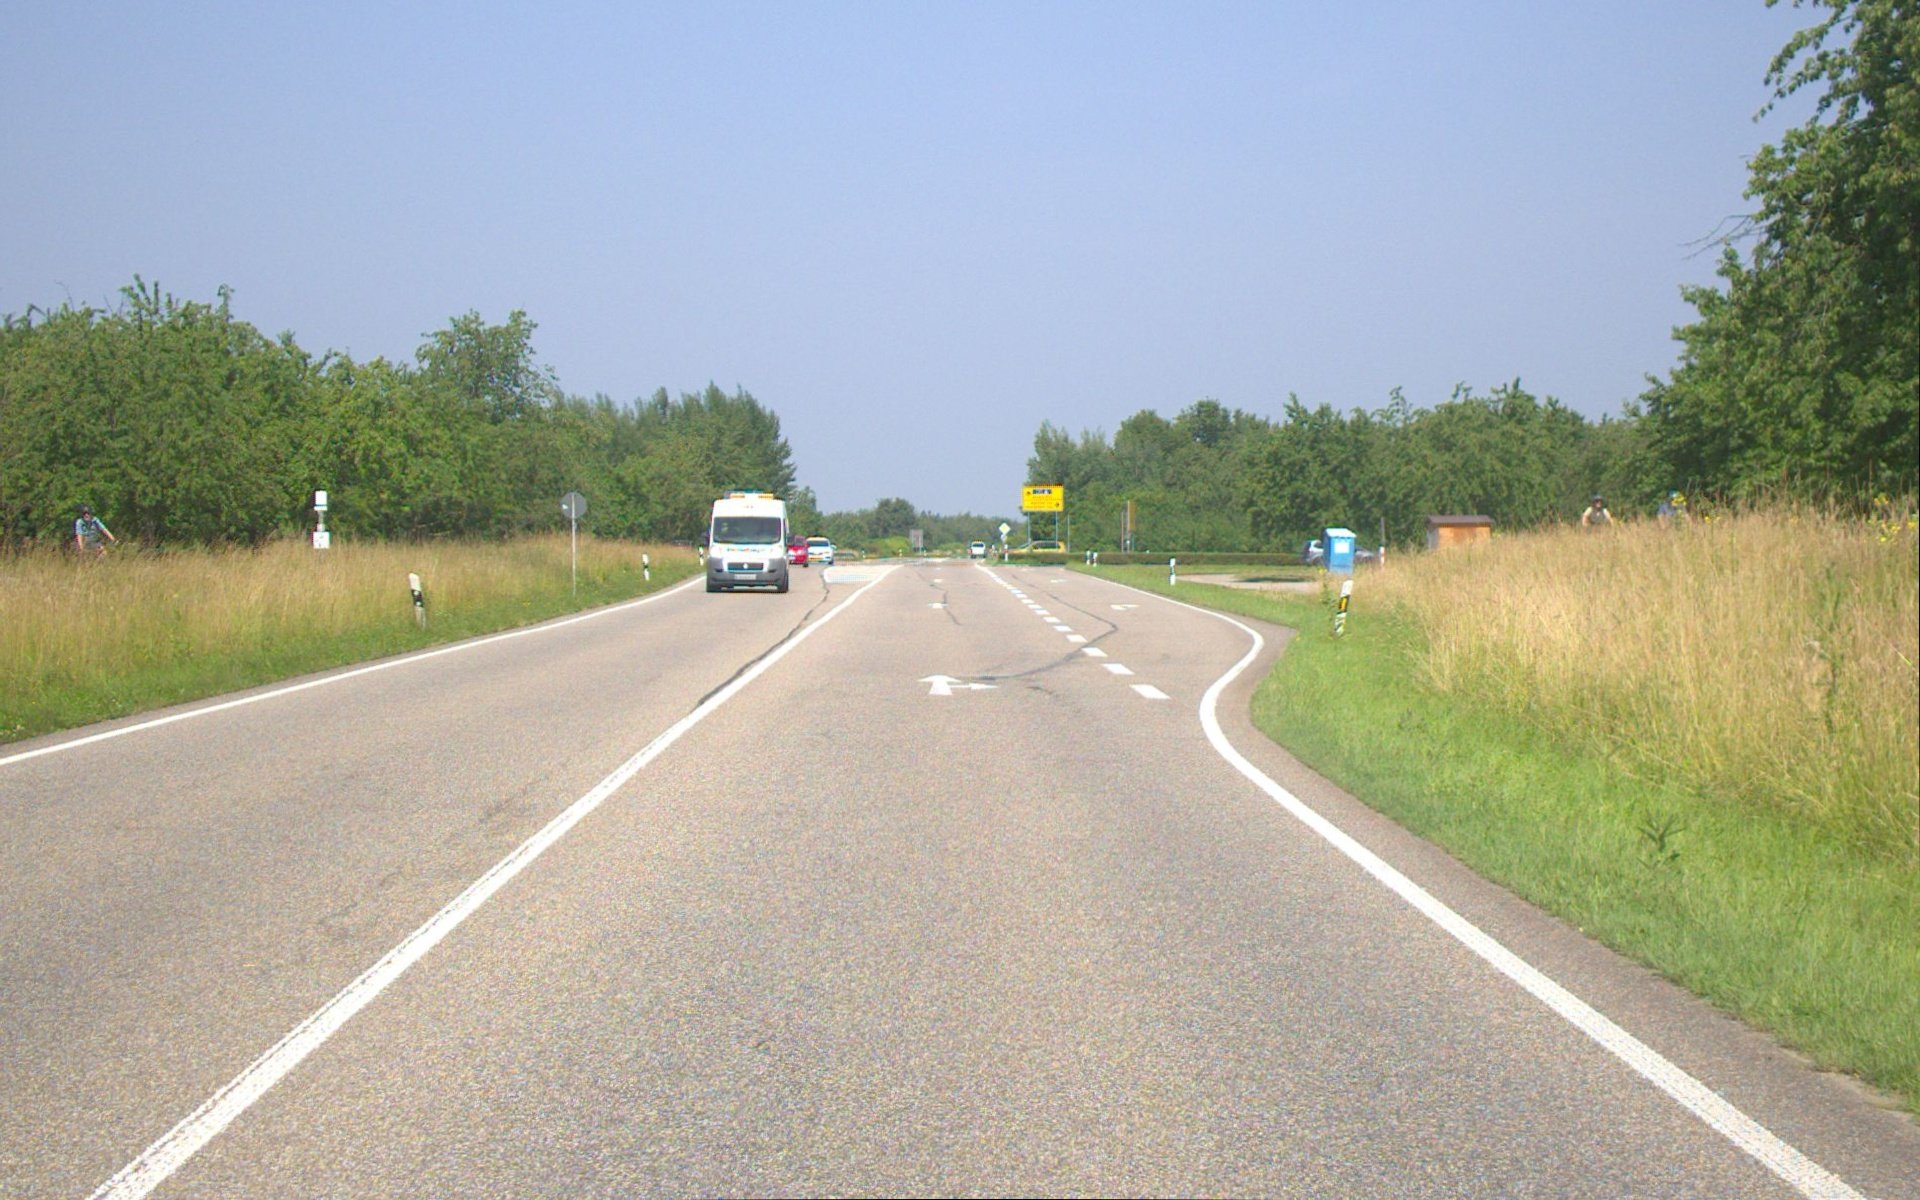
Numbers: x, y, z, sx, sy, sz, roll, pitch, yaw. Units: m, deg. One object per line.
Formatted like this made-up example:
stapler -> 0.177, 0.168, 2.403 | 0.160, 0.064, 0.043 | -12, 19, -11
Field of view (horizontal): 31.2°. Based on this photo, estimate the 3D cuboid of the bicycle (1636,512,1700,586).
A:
bicycle -> 13.761, -0.998, 66.832 | 0.749, 1.413, 2.221 | -1, 1, 0

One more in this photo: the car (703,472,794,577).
car -> -5.546, -1.948, 90.838 | 2.161, 2.659, 6.144 | 1, 1, -2

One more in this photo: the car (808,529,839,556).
car -> -7.665, -3.226, 193.119 | 1.675, 1.489, 4.137 | 1, 1, -2

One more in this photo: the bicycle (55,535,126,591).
bicycle -> -15.847, -0.671, 62.615 | 0.649, 0.986, 1.955 | 1, 0, -33

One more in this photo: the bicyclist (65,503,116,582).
bicyclist -> -15.837, -1.040, 62.611 | 0.641, 1.409, 0.863 | 1, 0, -33

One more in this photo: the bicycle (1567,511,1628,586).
bicycle -> 12.447, -1.012, 67.186 | 0.749, 1.413, 2.221 | -1, 1, 0

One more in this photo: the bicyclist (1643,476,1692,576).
bicyclist -> 13.757, -1.436, 66.835 | 0.749, 1.923, 0.828 | -1, 1, 0

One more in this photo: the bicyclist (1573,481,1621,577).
bicyclist -> 12.444, -1.386, 67.200 | 0.749, 1.860, 0.869 | -1, 1, 0
